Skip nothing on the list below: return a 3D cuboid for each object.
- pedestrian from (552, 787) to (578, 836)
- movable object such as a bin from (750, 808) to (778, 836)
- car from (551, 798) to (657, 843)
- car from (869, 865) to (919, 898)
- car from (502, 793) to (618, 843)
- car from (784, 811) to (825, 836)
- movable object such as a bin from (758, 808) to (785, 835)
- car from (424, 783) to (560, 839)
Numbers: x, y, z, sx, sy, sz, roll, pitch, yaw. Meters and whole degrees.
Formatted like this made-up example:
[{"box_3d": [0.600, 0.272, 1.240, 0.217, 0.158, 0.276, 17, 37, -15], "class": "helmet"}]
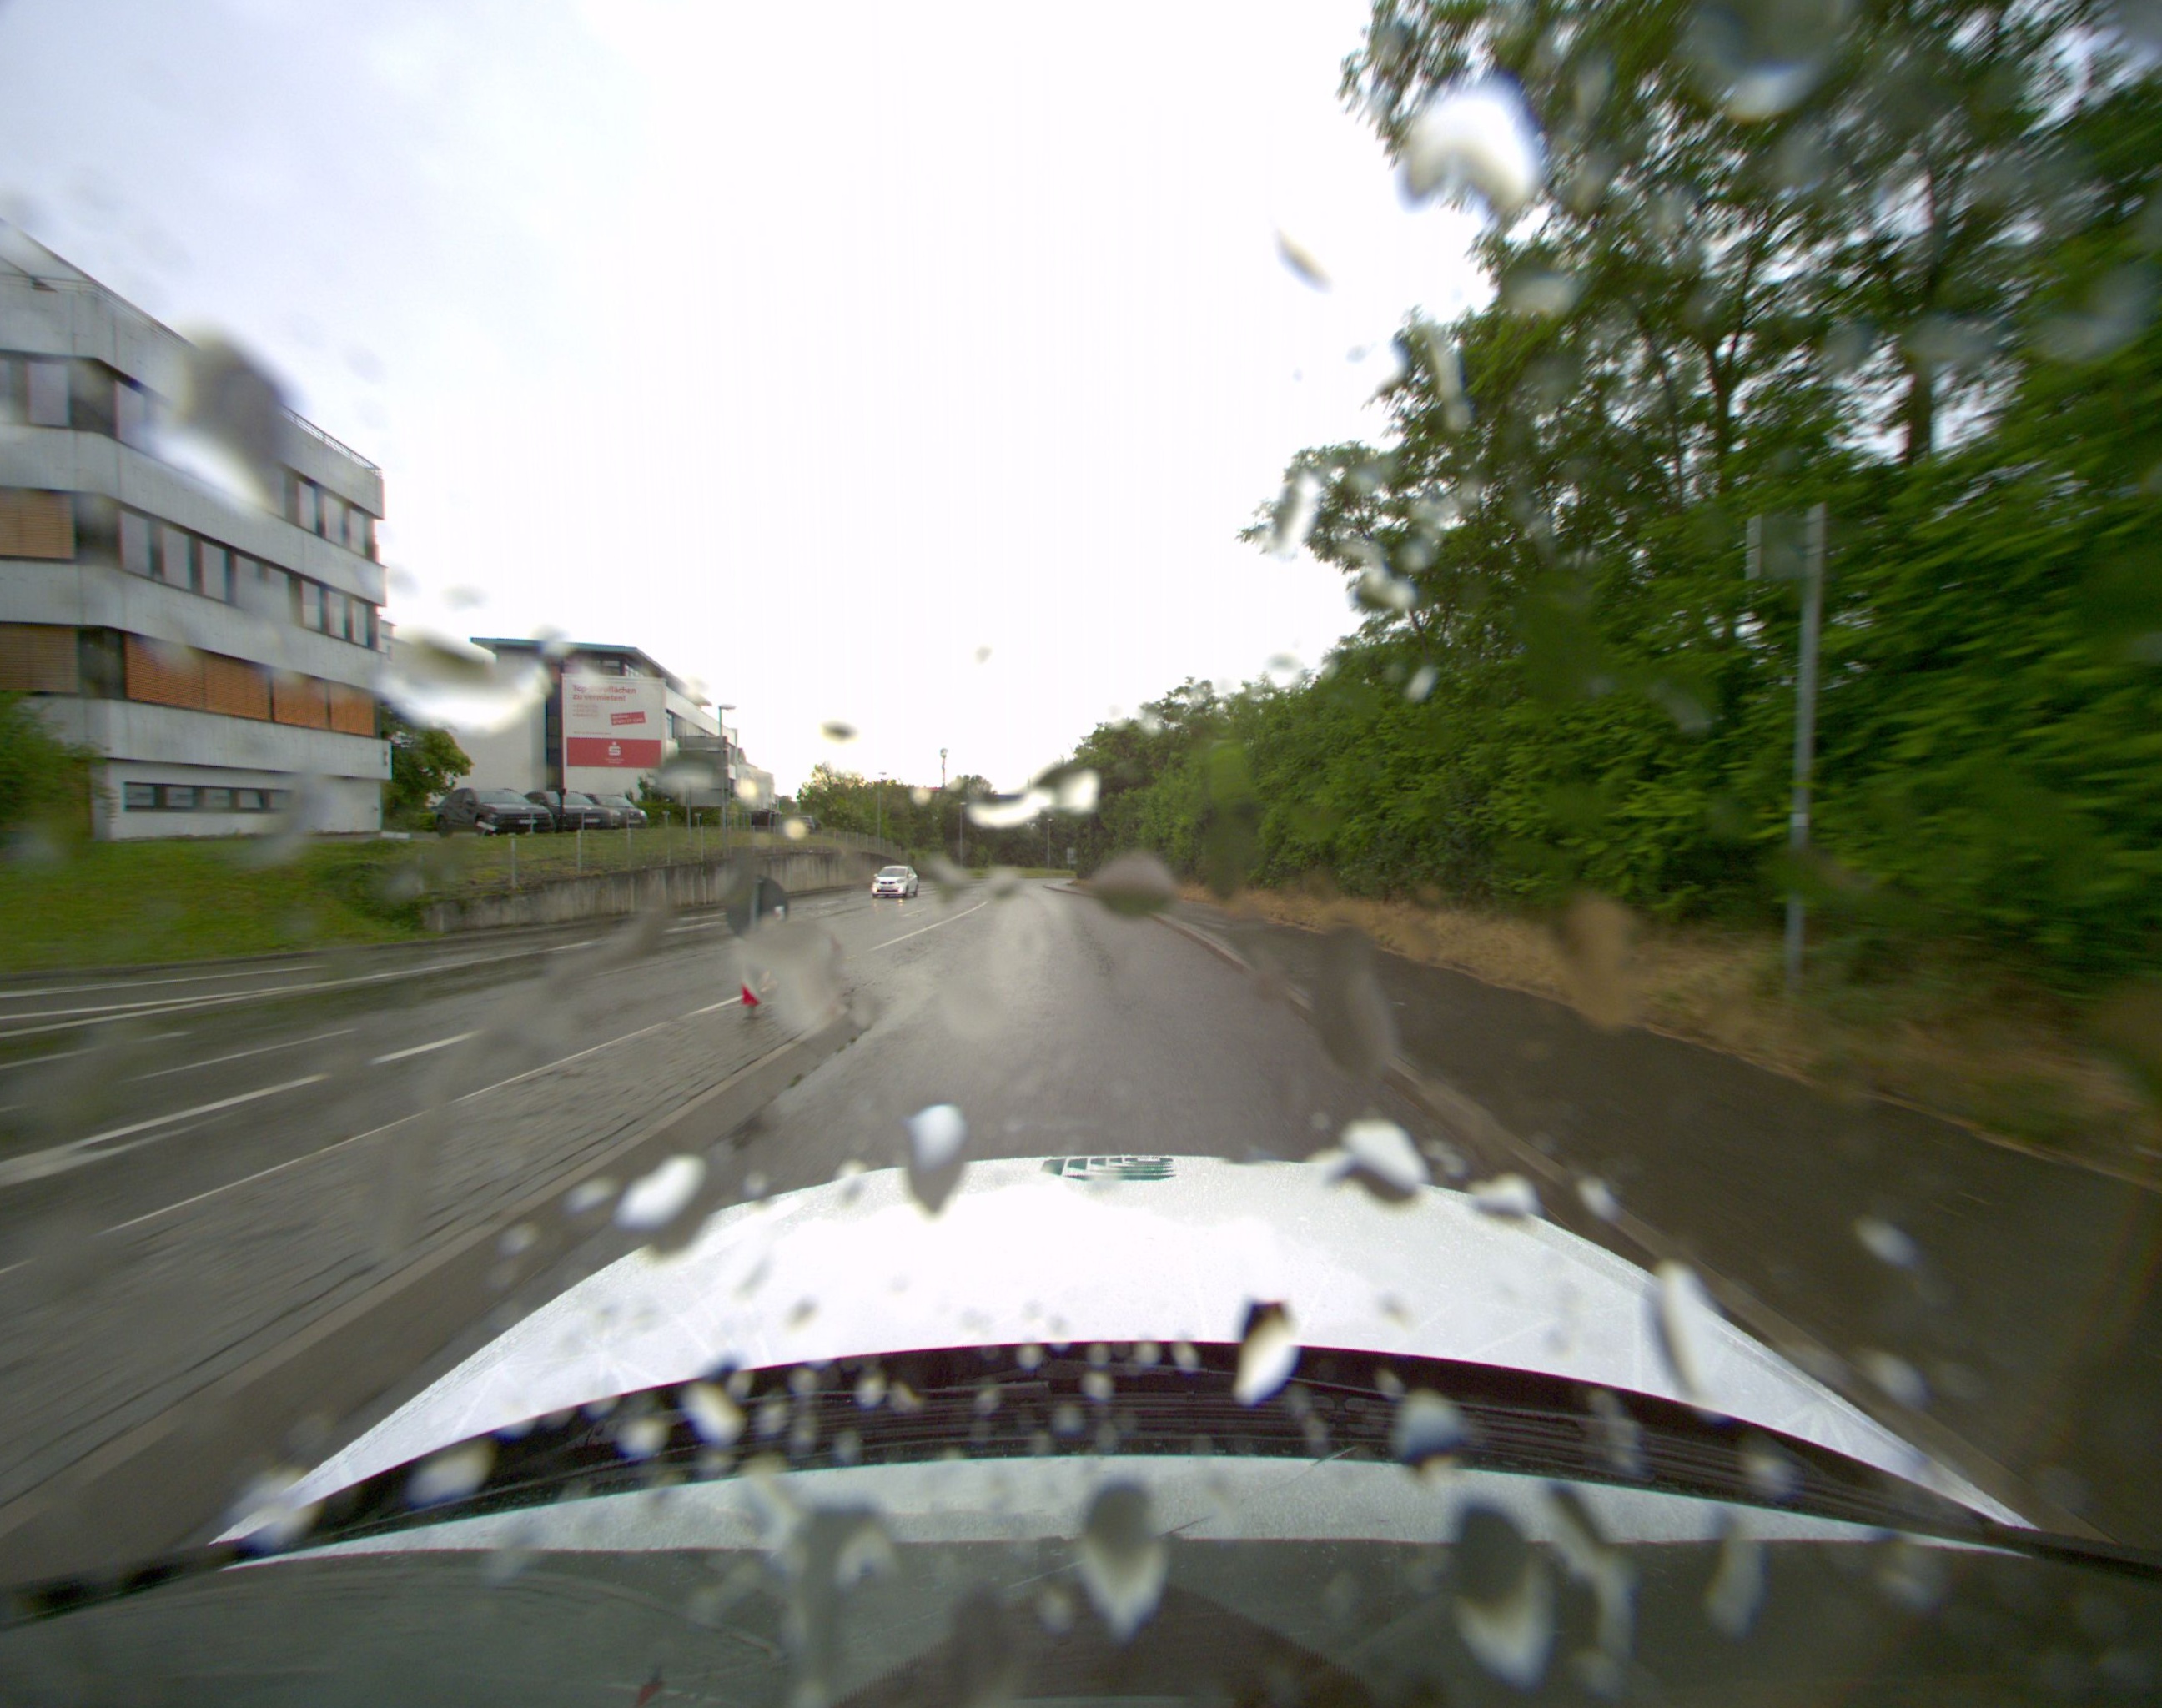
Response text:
[{"box_3d": [-16.706, -1.379, 26.354, 0.514, 1.550, 0.505, 0, 0, 24], "class": "pedestrian"}, {"box_3d": [-17.411, -1.748, 44.768, 1.083, 1.437, 1.443, 1, -1, -7], "class": "movable object such as a bin"}, {"box_3d": [-18.753, -1.259, 32.003, 3.949, 1.586, 1.914, 0, -1, 32], "class": "car"}, {"box_3d": [-8.901, 1.279, 39.032, 1.648, 1.429, 3.790, 0, 0, -2], "class": "car"}, {"box_3d": [-18.574, -1.232, 28.995, 3.949, 1.586, 1.914, 0, -1, 32], "class": "car"}, {"box_3d": [-18.803, -2.033, 55.576, 1.826, 1.442, 3.990, 1, -1, -7], "class": "car"}, {"box_3d": [-17.589, -1.826, 46.246, 1.083, 1.437, 1.443, 1, -1, -7], "class": "movable object such as a bin"}, {"box_3d": [-18.709, -1.296, 25.872, 3.950, 1.586, 1.914, 1, -1, 28], "class": "car"}]
